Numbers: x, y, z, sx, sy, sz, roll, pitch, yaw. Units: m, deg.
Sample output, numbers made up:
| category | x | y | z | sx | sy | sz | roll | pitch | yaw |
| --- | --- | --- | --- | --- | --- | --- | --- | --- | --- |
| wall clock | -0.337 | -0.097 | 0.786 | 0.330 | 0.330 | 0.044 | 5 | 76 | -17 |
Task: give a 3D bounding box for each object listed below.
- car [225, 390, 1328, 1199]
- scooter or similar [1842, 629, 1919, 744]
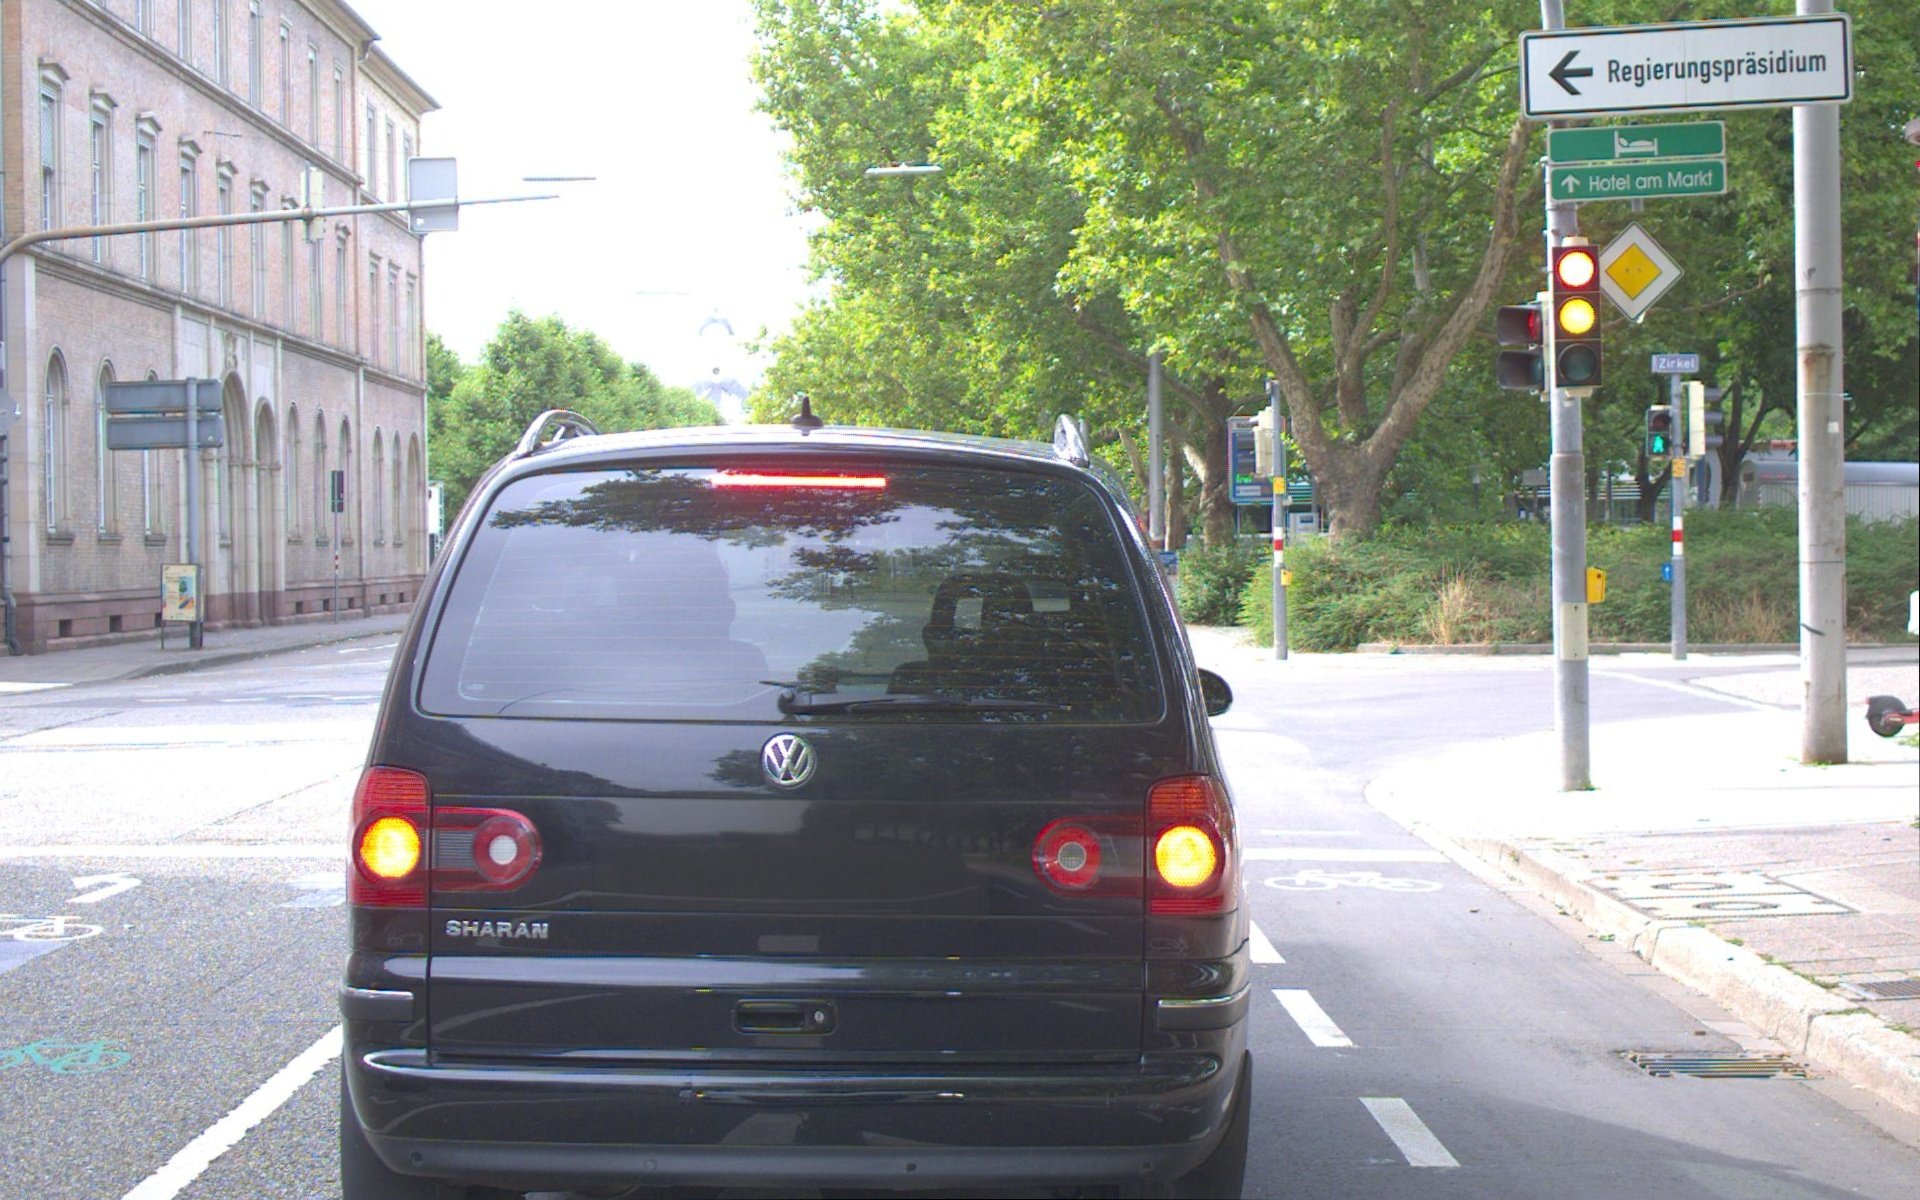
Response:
| category | x | y | z | sx | sy | sz | roll | pitch | yaw |
| --- | --- | --- | --- | --- | --- | --- | --- | --- | --- |
| car | -0.279 | 0.471 | 8.161 | 1.874 | 1.739 | 4.573 | 0 | 1 | 1 |
| scooter or similar | 6.465 | 0.563 | 22.629 | 1.219 | 0.734 | 0.369 | -1 | 1 | -1 |
